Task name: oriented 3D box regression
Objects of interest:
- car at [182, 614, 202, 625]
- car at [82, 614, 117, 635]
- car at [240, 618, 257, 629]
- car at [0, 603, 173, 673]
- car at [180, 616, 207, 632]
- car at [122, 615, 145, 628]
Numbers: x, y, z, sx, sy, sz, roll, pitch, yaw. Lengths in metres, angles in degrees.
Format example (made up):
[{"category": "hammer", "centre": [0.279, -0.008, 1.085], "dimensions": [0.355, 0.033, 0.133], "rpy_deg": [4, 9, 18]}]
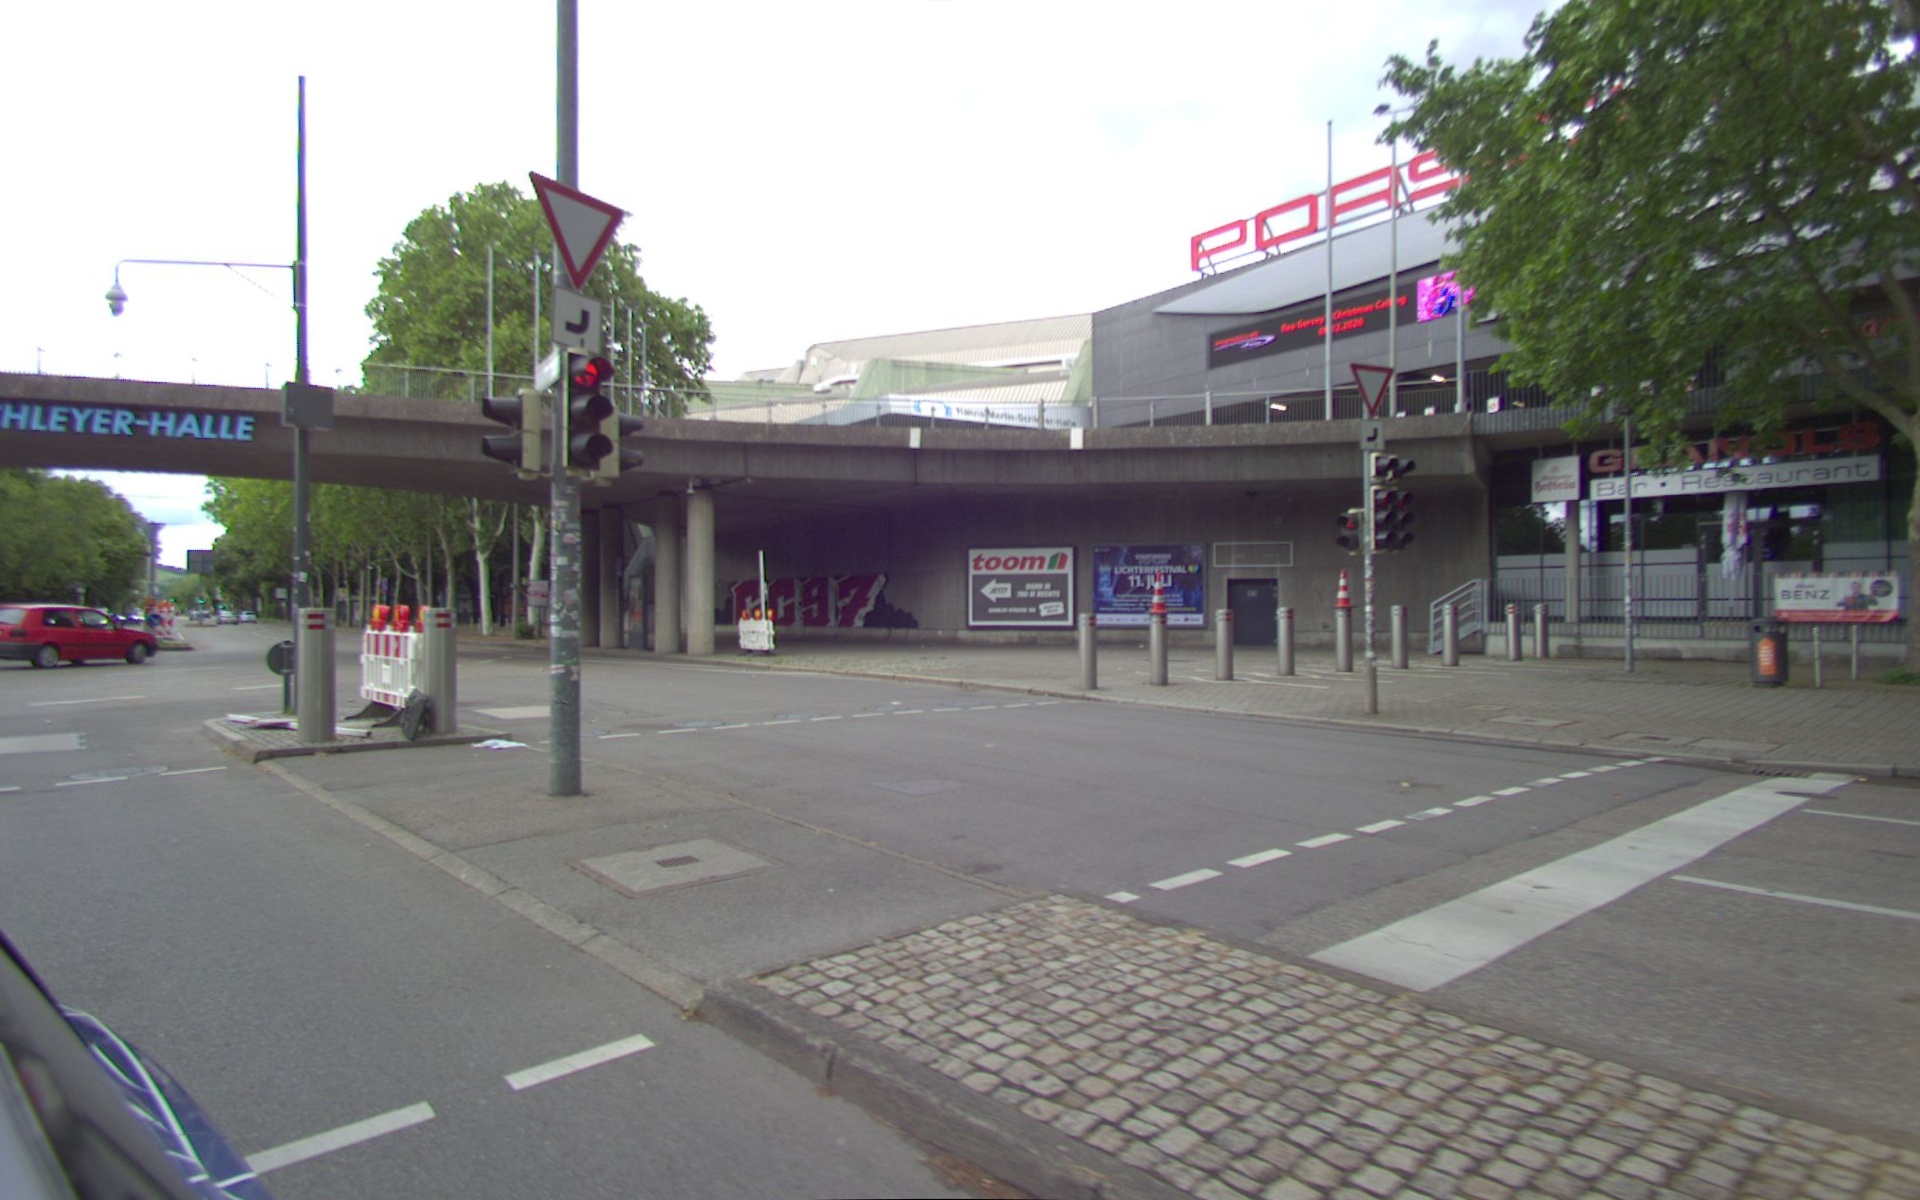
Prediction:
[{"category": "car", "centre": [-118.801, 3.014, 156.605], "dimensions": [1.970, 1.672, 4.003], "rpy_deg": [1, -1, -44]}, {"category": "car", "centre": [-63.794, 1.813, 75.061], "dimensions": [1.735, 1.374, 3.725], "rpy_deg": [2, 0, -37]}, {"category": "car", "centre": [-90.232, 2.986, 128.300], "dimensions": [1.589, 1.323, 3.403], "rpy_deg": [1, -1, -37]}, {"category": "car", "centre": [-20.823, 0.829, 23.503], "dimensions": [1.810, 1.462, 4.073], "rpy_deg": [1, -1, 3]}, {"category": "car", "centre": [-74.602, 2.305, 98.509], "dimensions": [1.967, 1.429, 4.009], "rpy_deg": [1, -1, -37]}, {"category": "car", "centre": [-95.880, 2.512, 117.365], "dimensions": [1.734, 1.374, 3.726], "rpy_deg": [2, 0, -35]}]
